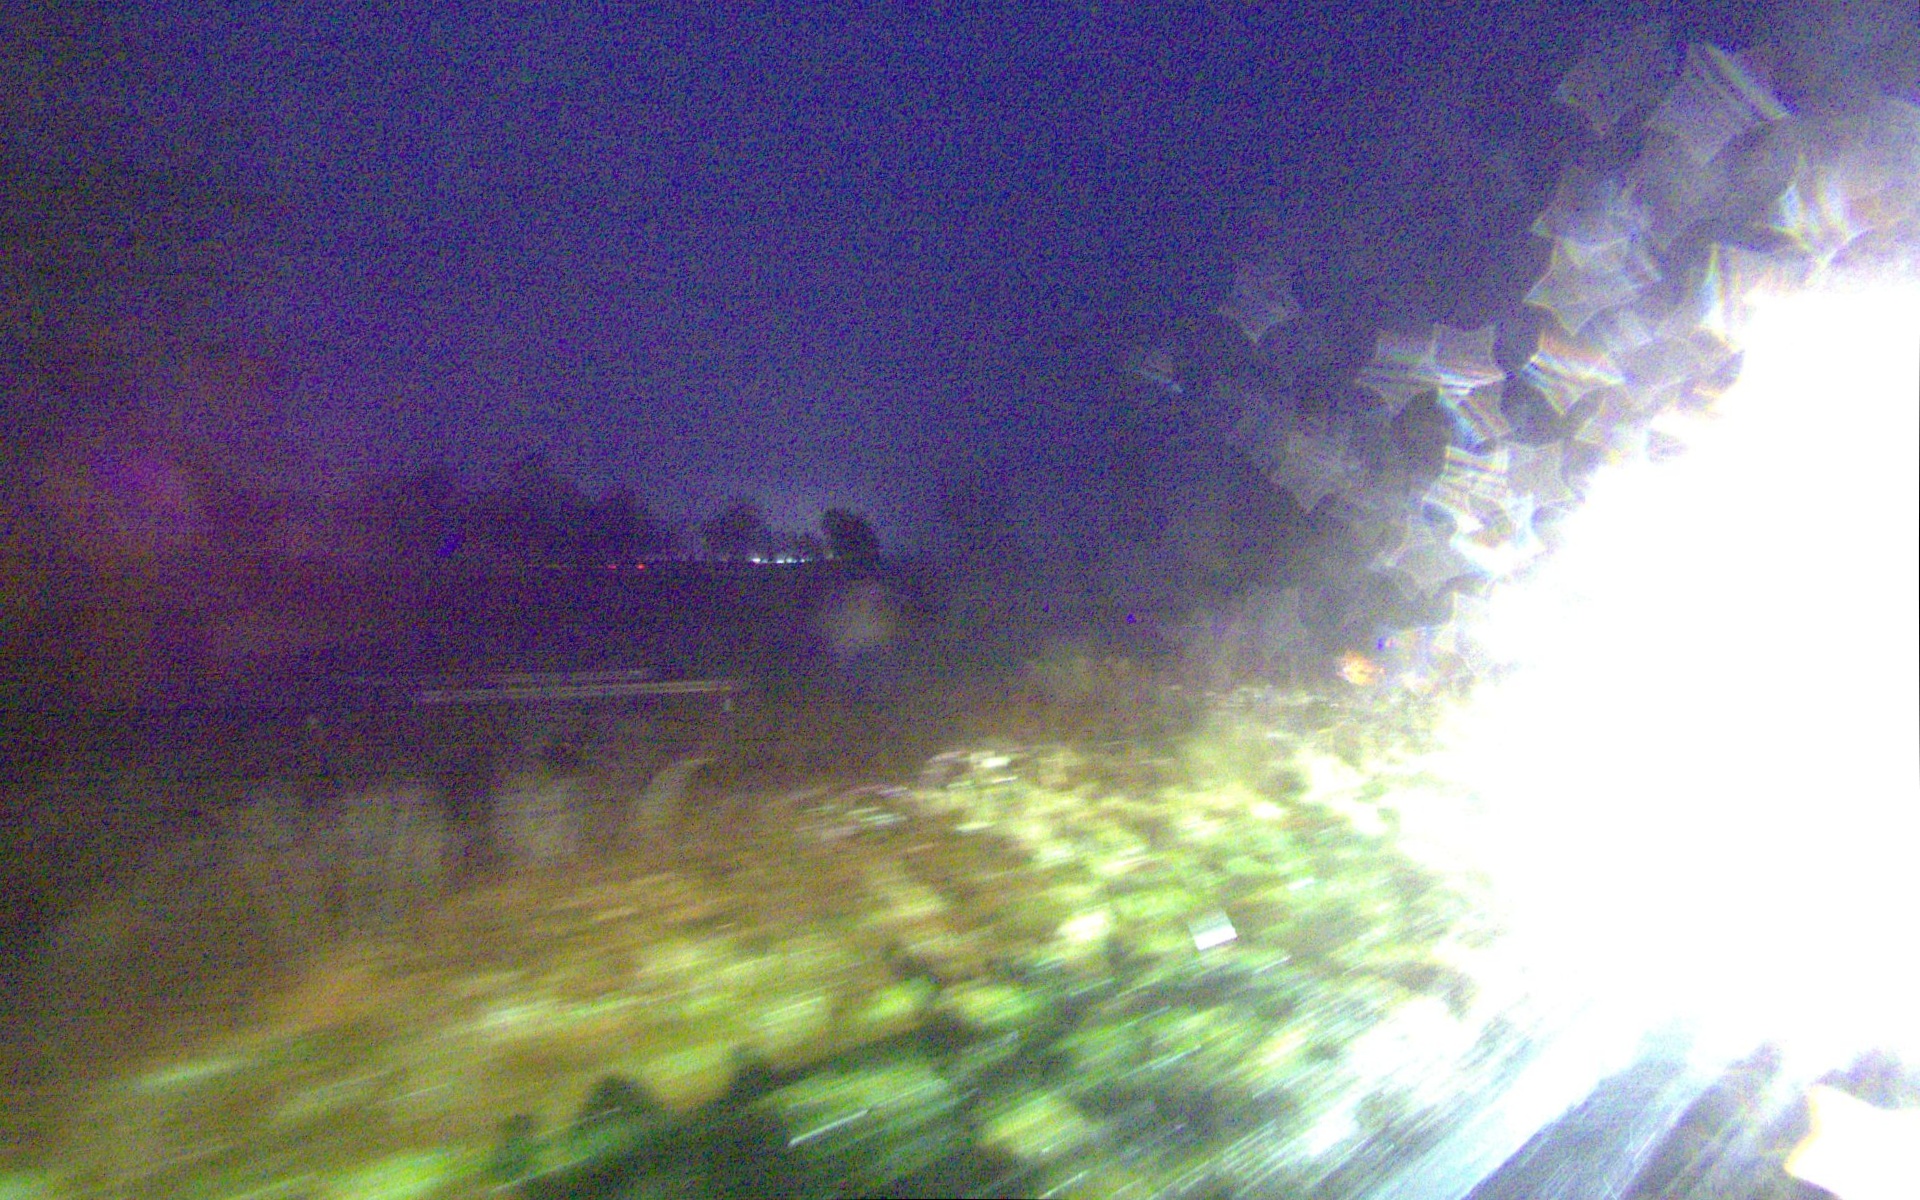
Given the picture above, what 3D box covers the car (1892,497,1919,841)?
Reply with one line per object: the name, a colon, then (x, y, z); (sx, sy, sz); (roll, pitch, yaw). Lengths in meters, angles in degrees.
car: (7.617, 0.354, 6.504); (4.295, 1.949, 2.001); (-2, 2, -42)
